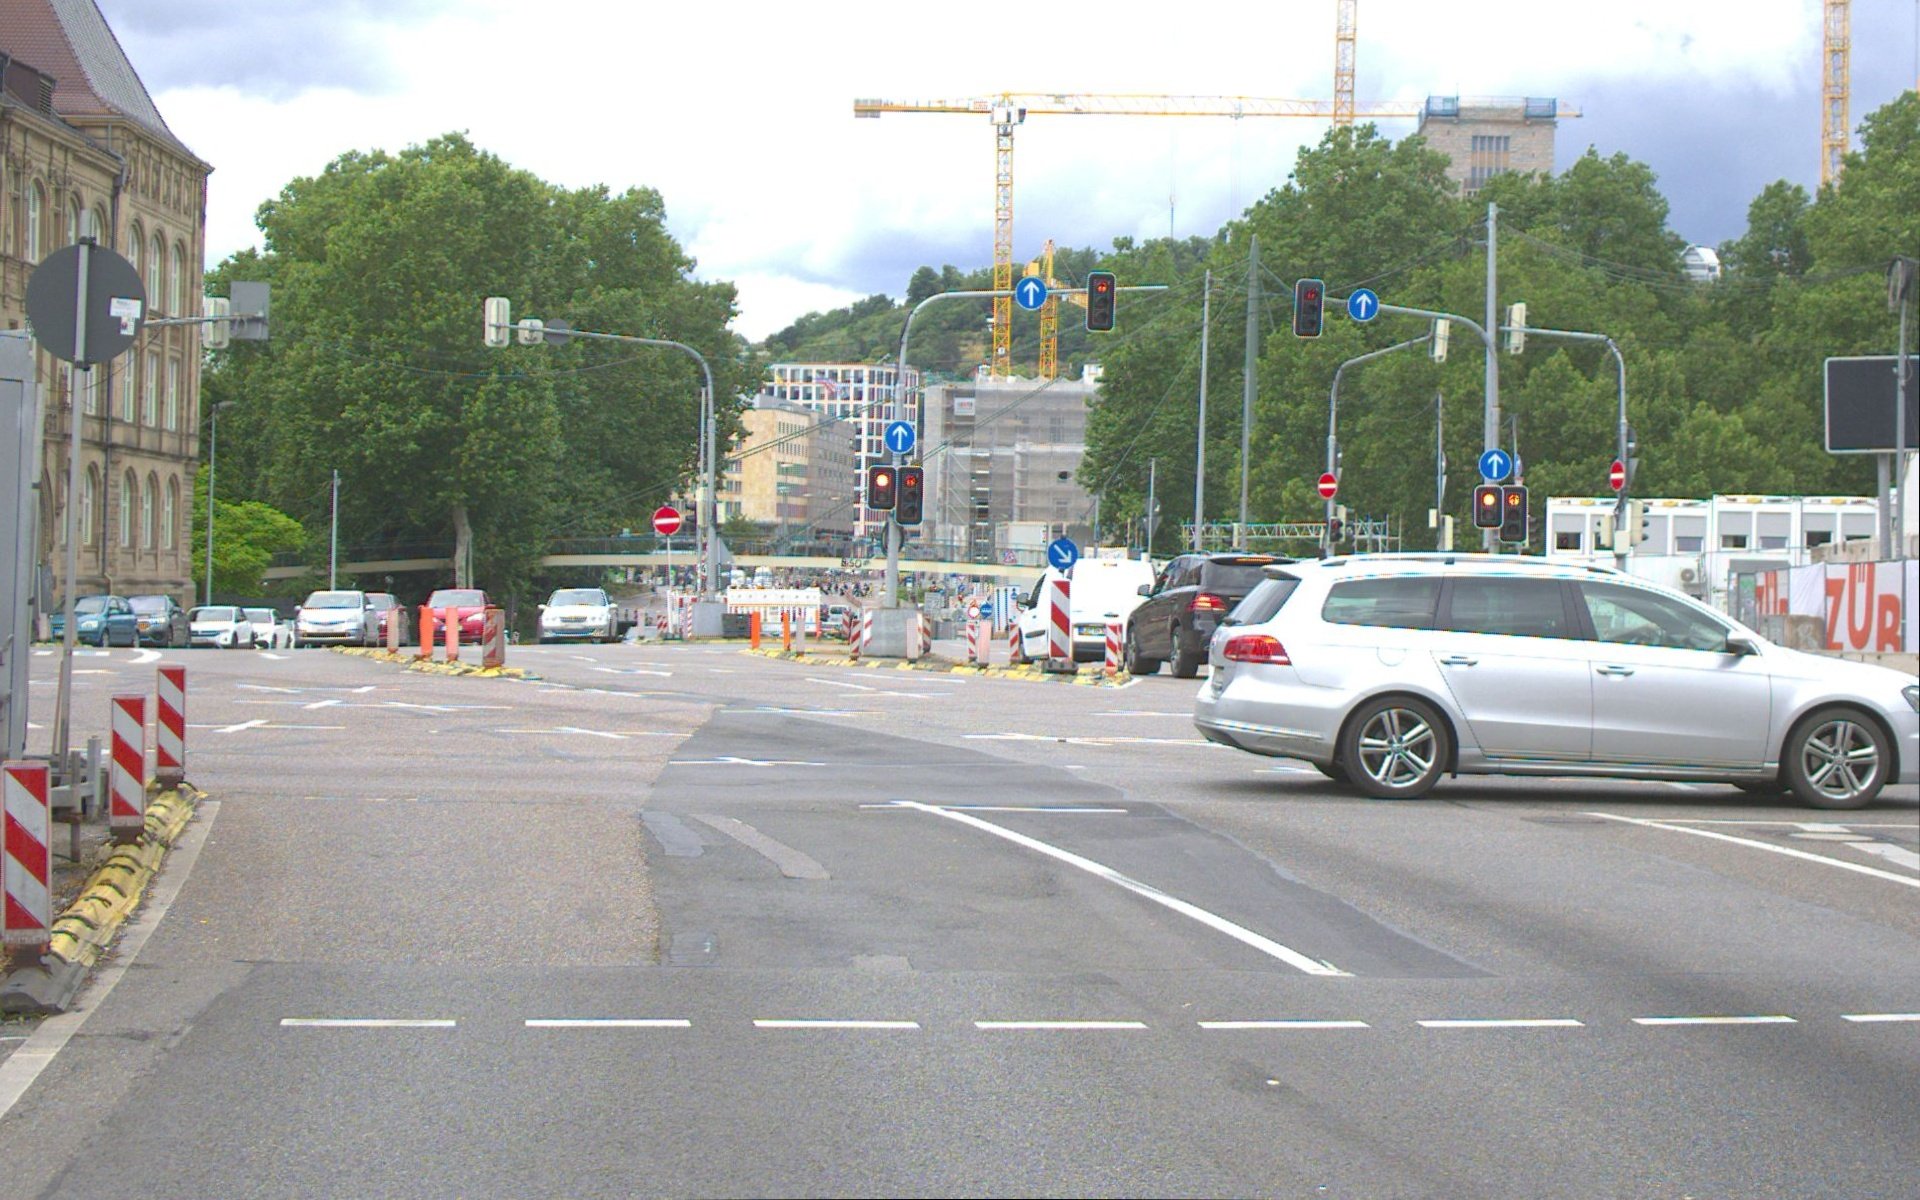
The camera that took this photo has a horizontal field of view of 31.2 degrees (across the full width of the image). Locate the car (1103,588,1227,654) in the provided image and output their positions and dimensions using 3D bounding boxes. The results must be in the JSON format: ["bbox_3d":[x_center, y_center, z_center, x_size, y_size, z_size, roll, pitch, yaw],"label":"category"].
[{"bbox_3d":[4.507,0.455,75.999,1.675,1.393,3.087,1,1,-19],"label":"car"}]

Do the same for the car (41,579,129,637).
[{"bbox_3d":[-21.990,0.193,86.497,1.675,1.393,3.684,1,1,-7],"label":"car"}]

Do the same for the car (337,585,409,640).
[{"bbox_3d":[-15.661,0.330,91.800,1.675,1.393,3.684,1,1,-7],"label":"car"}]

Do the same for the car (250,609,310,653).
[{"bbox_3d":[-22.893,1.036,115.745,1.675,1.393,3.684,1,1,-7],"label":"car"}]

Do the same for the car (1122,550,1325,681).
[{"bbox_3d":[3.663,0.186,48.490,1.831,1.740,4.257,1,1,-10],"label":"car"}]

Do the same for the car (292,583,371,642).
[{"bbox_3d":[-15.641,0.291,85.639,1.675,1.393,3.684,1,1,-7],"label":"car"}]

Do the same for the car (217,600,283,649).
[{"bbox_3d":[-22.419,0.792,108.640,1.675,1.394,3.683,0,-3,-6],"label":"car"}]

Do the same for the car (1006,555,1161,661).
[{"bbox_3d":[1.953,0.102,55.537,1.816,1.619,4.001,1,1,-8],"label":"car"}]

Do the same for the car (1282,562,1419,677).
[{"bbox_3d":[5.989,0.270,53.057,1.676,1.696,3.374,1,1,-1],"label":"car"}]

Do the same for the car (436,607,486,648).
[{"bbox_3d":[-18.270,1.001,126.012,1.675,1.393,3.684,1,1,-7],"label":"car"}]

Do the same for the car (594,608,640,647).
[{"bbox_3d":[-13.100,1.023,131.165,1.675,1.393,3.684,1,1,-7],"label":"car"}]

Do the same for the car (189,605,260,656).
[{"bbox_3d":[-21.669,0.893,101.369,1.675,1.393,3.684,1,1,-7],"label":"car"}]

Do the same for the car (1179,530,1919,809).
[{"bbox_3d":[3.819,0.414,21.439,4.709,1.619,1.682,1,0,-3],"label":"car"}]

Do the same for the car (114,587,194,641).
[{"bbox_3d":[-21.771,0.362,92.929,1.675,1.393,3.684,1,1,-7],"label":"car"}]

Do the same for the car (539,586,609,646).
[{"bbox_3d":[-9.556,0.382,85.042,1.675,1.393,3.684,1,1,-7],"label":"car"}]

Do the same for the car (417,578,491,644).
[{"bbox_3d":[-12.447,0.253,84.729,1.675,1.575,3.684,1,1,-7],"label":"car"}]
